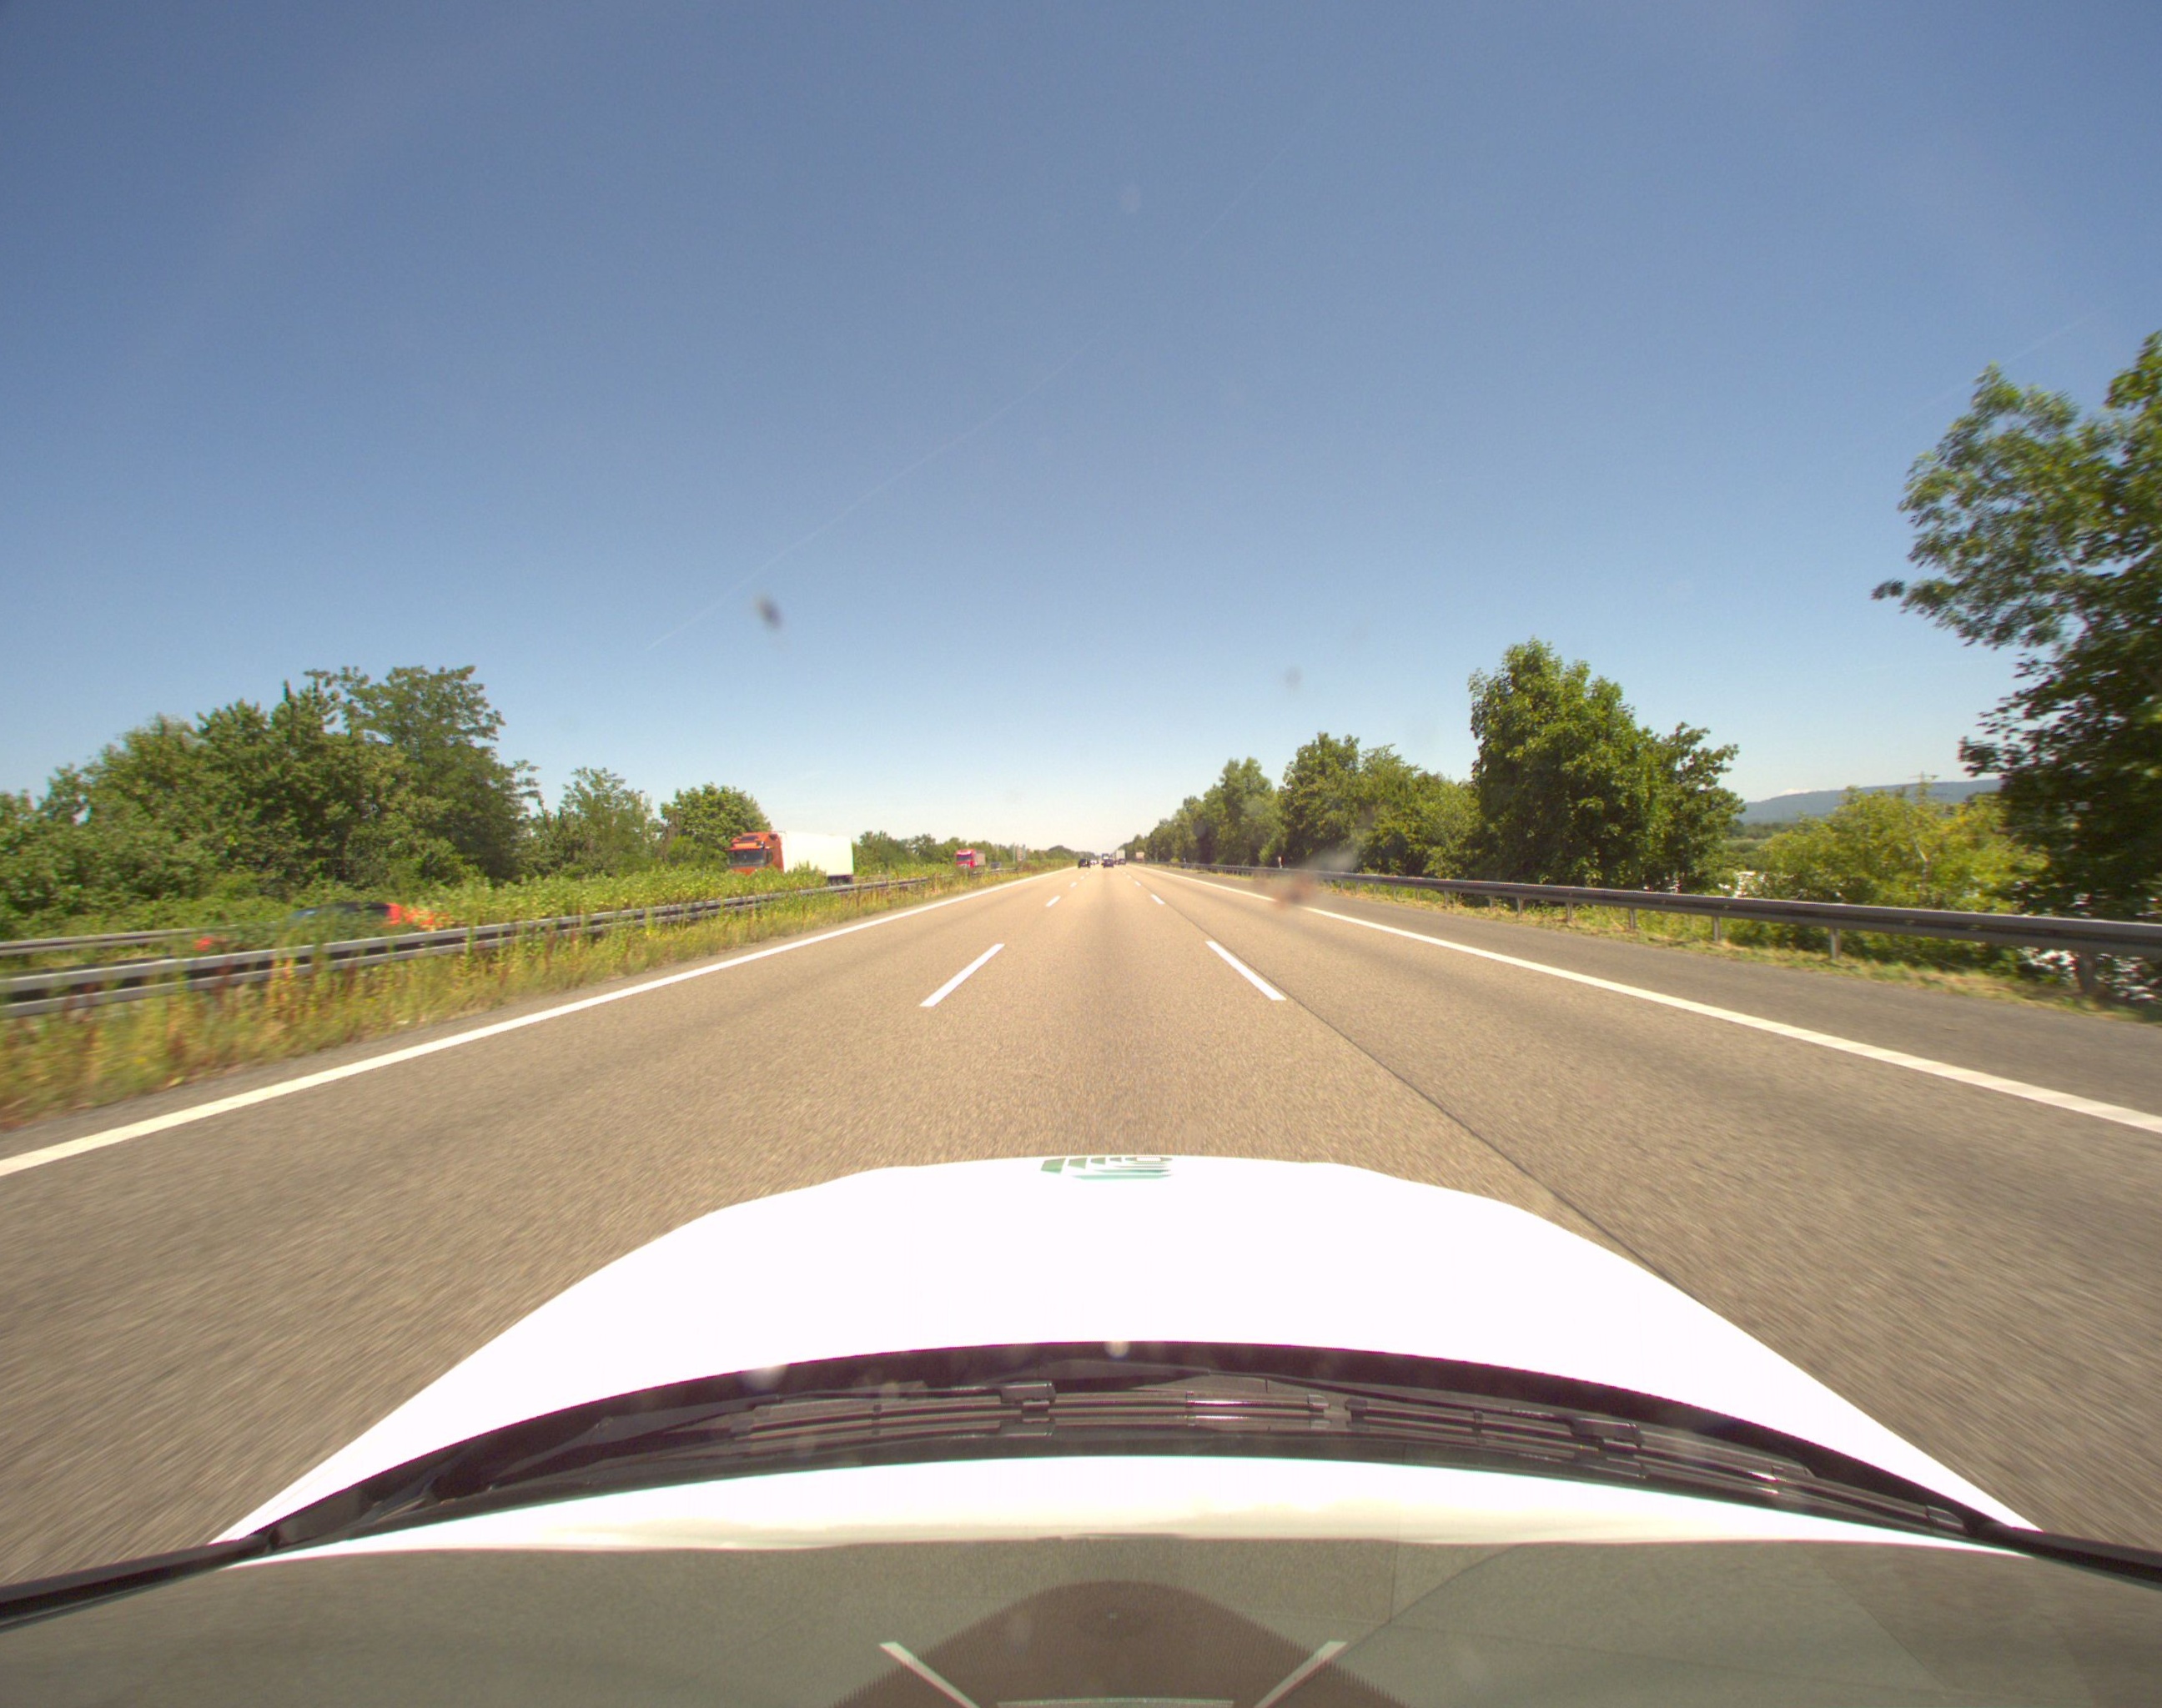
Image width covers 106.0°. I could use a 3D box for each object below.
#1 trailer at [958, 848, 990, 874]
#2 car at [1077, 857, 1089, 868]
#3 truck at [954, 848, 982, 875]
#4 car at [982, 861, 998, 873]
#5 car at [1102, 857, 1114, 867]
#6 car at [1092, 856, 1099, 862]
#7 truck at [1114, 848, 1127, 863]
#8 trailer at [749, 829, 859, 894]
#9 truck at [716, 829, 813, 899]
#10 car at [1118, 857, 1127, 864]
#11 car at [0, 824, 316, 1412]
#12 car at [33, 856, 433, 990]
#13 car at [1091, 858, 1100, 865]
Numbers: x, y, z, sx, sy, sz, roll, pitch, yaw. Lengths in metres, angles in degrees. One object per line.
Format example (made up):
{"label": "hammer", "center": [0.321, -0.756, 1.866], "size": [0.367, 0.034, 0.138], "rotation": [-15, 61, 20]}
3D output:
{"label": "trailer", "center": [-16.985, 1.138, 129.941], "size": [3.066, 3.869, 10.913], "rotation": [-2, 0, 2]}
{"label": "car", "center": [0.394, 1.402, 135.590], "size": [1.874, 1.792, 4.000], "rotation": [-2, 1, 0]}
{"label": "truck", "center": [-17.219, 1.112, 124.117], "size": [3.066, 3.869, 5.594], "rotation": [-2, 0, 2]}
{"label": "car", "center": [-13.863, 2.007, 124.361], "size": [1.647, 1.645, 4.335], "rotation": [-2, 0, 2]}
{"label": "car", "center": [4.353, 1.271, 130.451], "size": [1.895, 1.584, 4.306], "rotation": [-2, 0, 2]}
{"label": "car", "center": [4.516, 1.622, 258.993], "size": [2.120, 1.645, 4.306], "rotation": [-2, 0, 2]}
{"label": "truck", "center": [11.056, 0.396, 226.428], "size": [3.372, 3.970, 9.542], "rotation": [-2, 0, 2]}
{"label": "trailer", "center": [-19.408, 0.488, 58.297], "size": [2.722, 3.935, 13.071], "rotation": [-4, 0, 2]}
{"label": "truck", "center": [-19.681, 0.599, 51.214], "size": [2.722, 3.935, 7.419], "rotation": [-4, 0, 2]}
{"label": "car", "center": [9.931, 1.498, 195.231], "size": [2.120, 1.584, 4.306], "rotation": [-2, 0, 2]}
{"label": "car", "center": [-3.988, 0.784, 0.679], "size": [1.874, 1.640, 5.009], "rotation": [-2, 1, 1]}
{"label": "car", "center": [-12.877, 0.919, 12.831], "size": [1.986, 1.704, 4.002], "rotation": [-2, 0, 2]}
{"label": "car", "center": [3.546, 1.757, 203.073], "size": [2.120, 1.645, 4.306], "rotation": [-2, 0, 2]}
